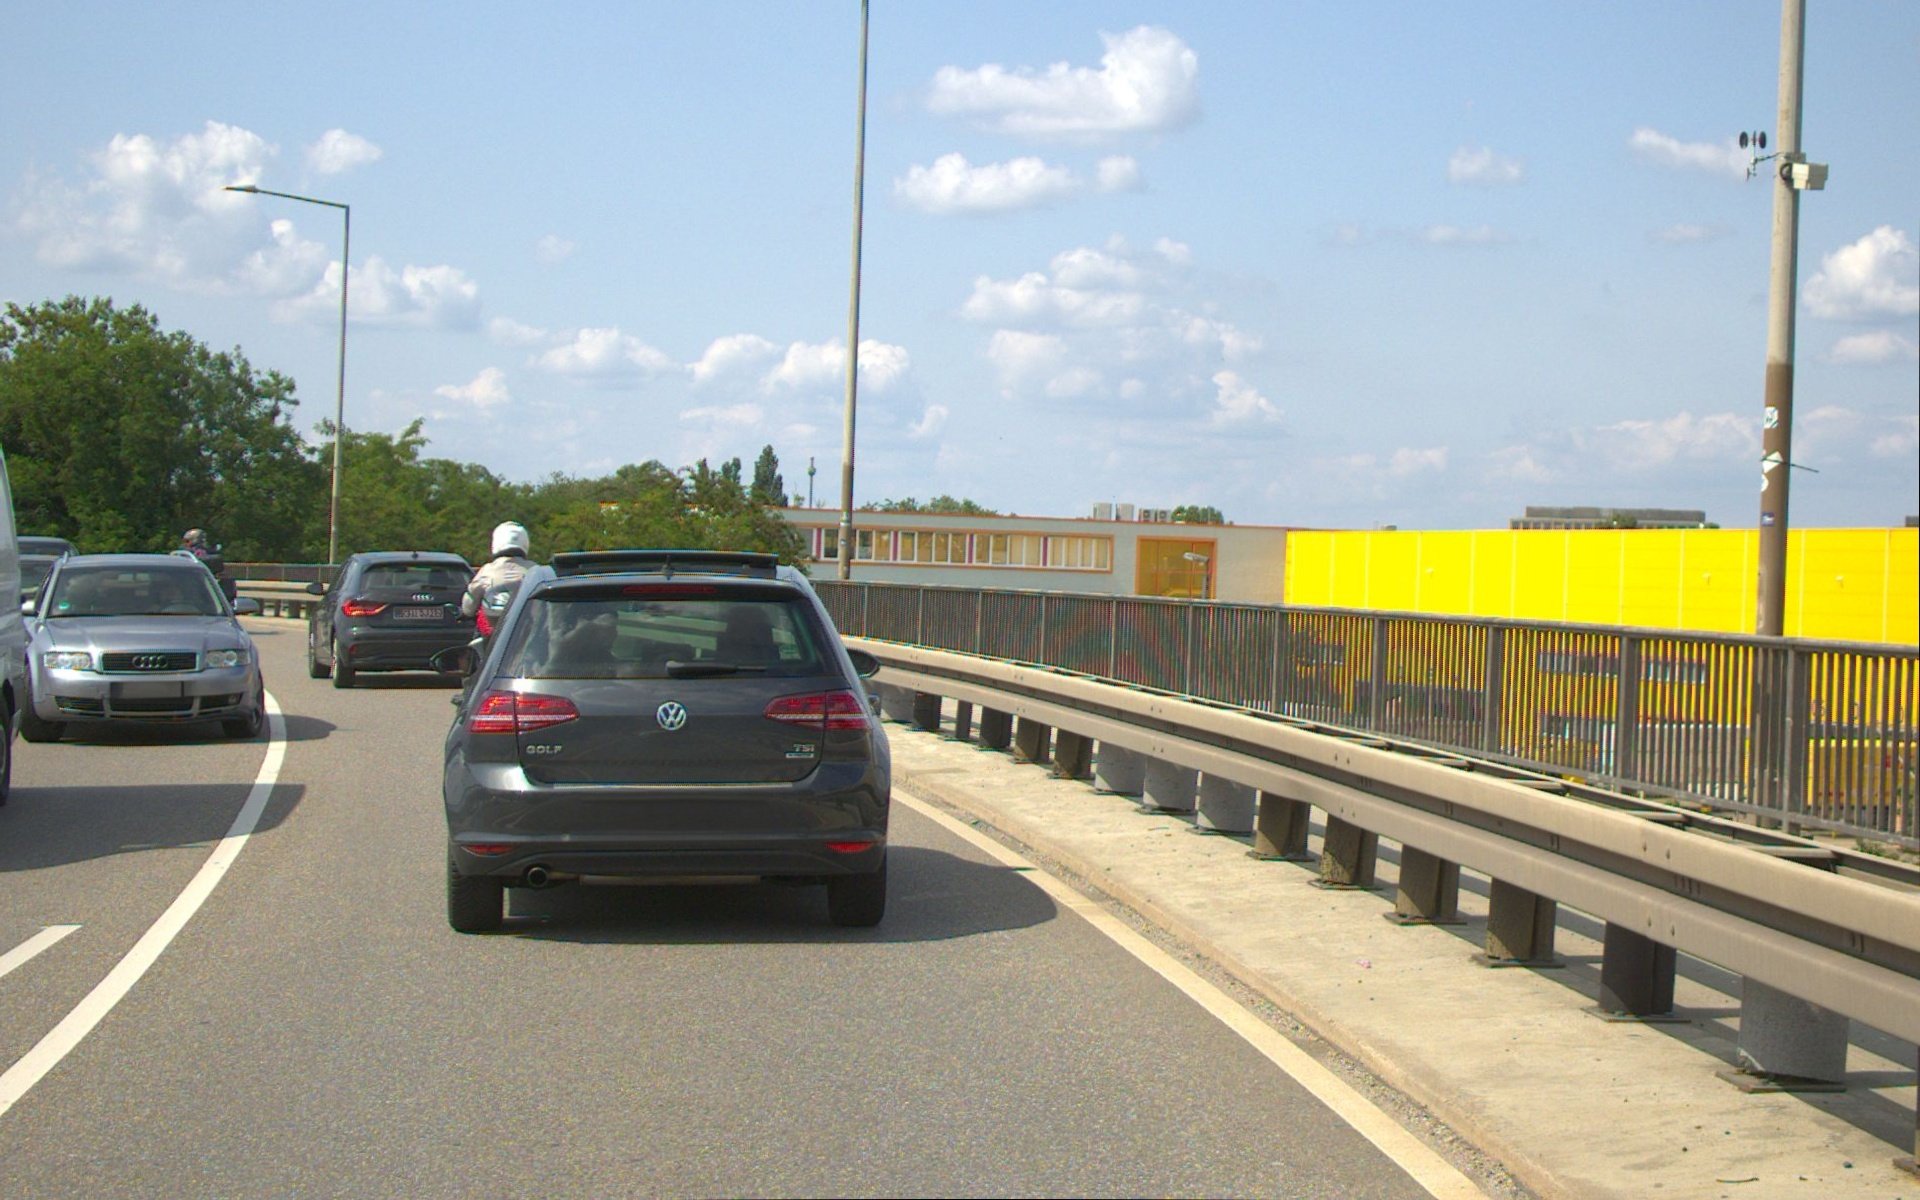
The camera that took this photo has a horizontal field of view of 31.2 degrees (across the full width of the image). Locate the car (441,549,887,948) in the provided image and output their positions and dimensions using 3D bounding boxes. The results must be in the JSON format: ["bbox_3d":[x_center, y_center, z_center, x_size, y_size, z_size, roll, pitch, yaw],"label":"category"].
[{"bbox_3d":[-1.382,0.528,14.714,1.642,1.474,3.873,0,1,-9],"label":"car"}]

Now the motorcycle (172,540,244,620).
[{"bbox_3d":[-12.122,-0.339,55.334,0.887,1.243,2.400,0,1,-18],"label":"motorcycle"}]

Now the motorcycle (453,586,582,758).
[{"bbox_3d":[-3.192,0.488,24.623,0.789,1.128,2.400,0,1,-10],"label":"motorcycle"}]

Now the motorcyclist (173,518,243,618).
[{"bbox_3d":[-12.113,-0.524,55.371,0.965,1.590,1.125,1,1,-18],"label":"motorcyclist"}]

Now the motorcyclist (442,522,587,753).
[{"bbox_3d":[-3.203,0.255,24.639,0.965,1.614,1.125,1,1,-10],"label":"motorcyclist"}]

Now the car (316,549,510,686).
[{"bbox_3d":[-5.868,0.174,36.605,1.681,1.383,3.740,0,0,-15],"label":"car"}]

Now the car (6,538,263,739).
[{"bbox_3d":[-6.741,0.256,27.791,1.766,1.455,4.299,-1,1,-16],"label":"car"}]

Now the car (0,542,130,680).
[{"bbox_3d":[-9.678,0.085,36.155,1.631,1.340,4.255,-2,1,-16],"label":"car"}]

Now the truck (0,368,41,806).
[{"bbox_3d":[-6.302,-0.042,18.280,1.993,2.499,5.949,-1,1,-8],"label":"truck"}]
